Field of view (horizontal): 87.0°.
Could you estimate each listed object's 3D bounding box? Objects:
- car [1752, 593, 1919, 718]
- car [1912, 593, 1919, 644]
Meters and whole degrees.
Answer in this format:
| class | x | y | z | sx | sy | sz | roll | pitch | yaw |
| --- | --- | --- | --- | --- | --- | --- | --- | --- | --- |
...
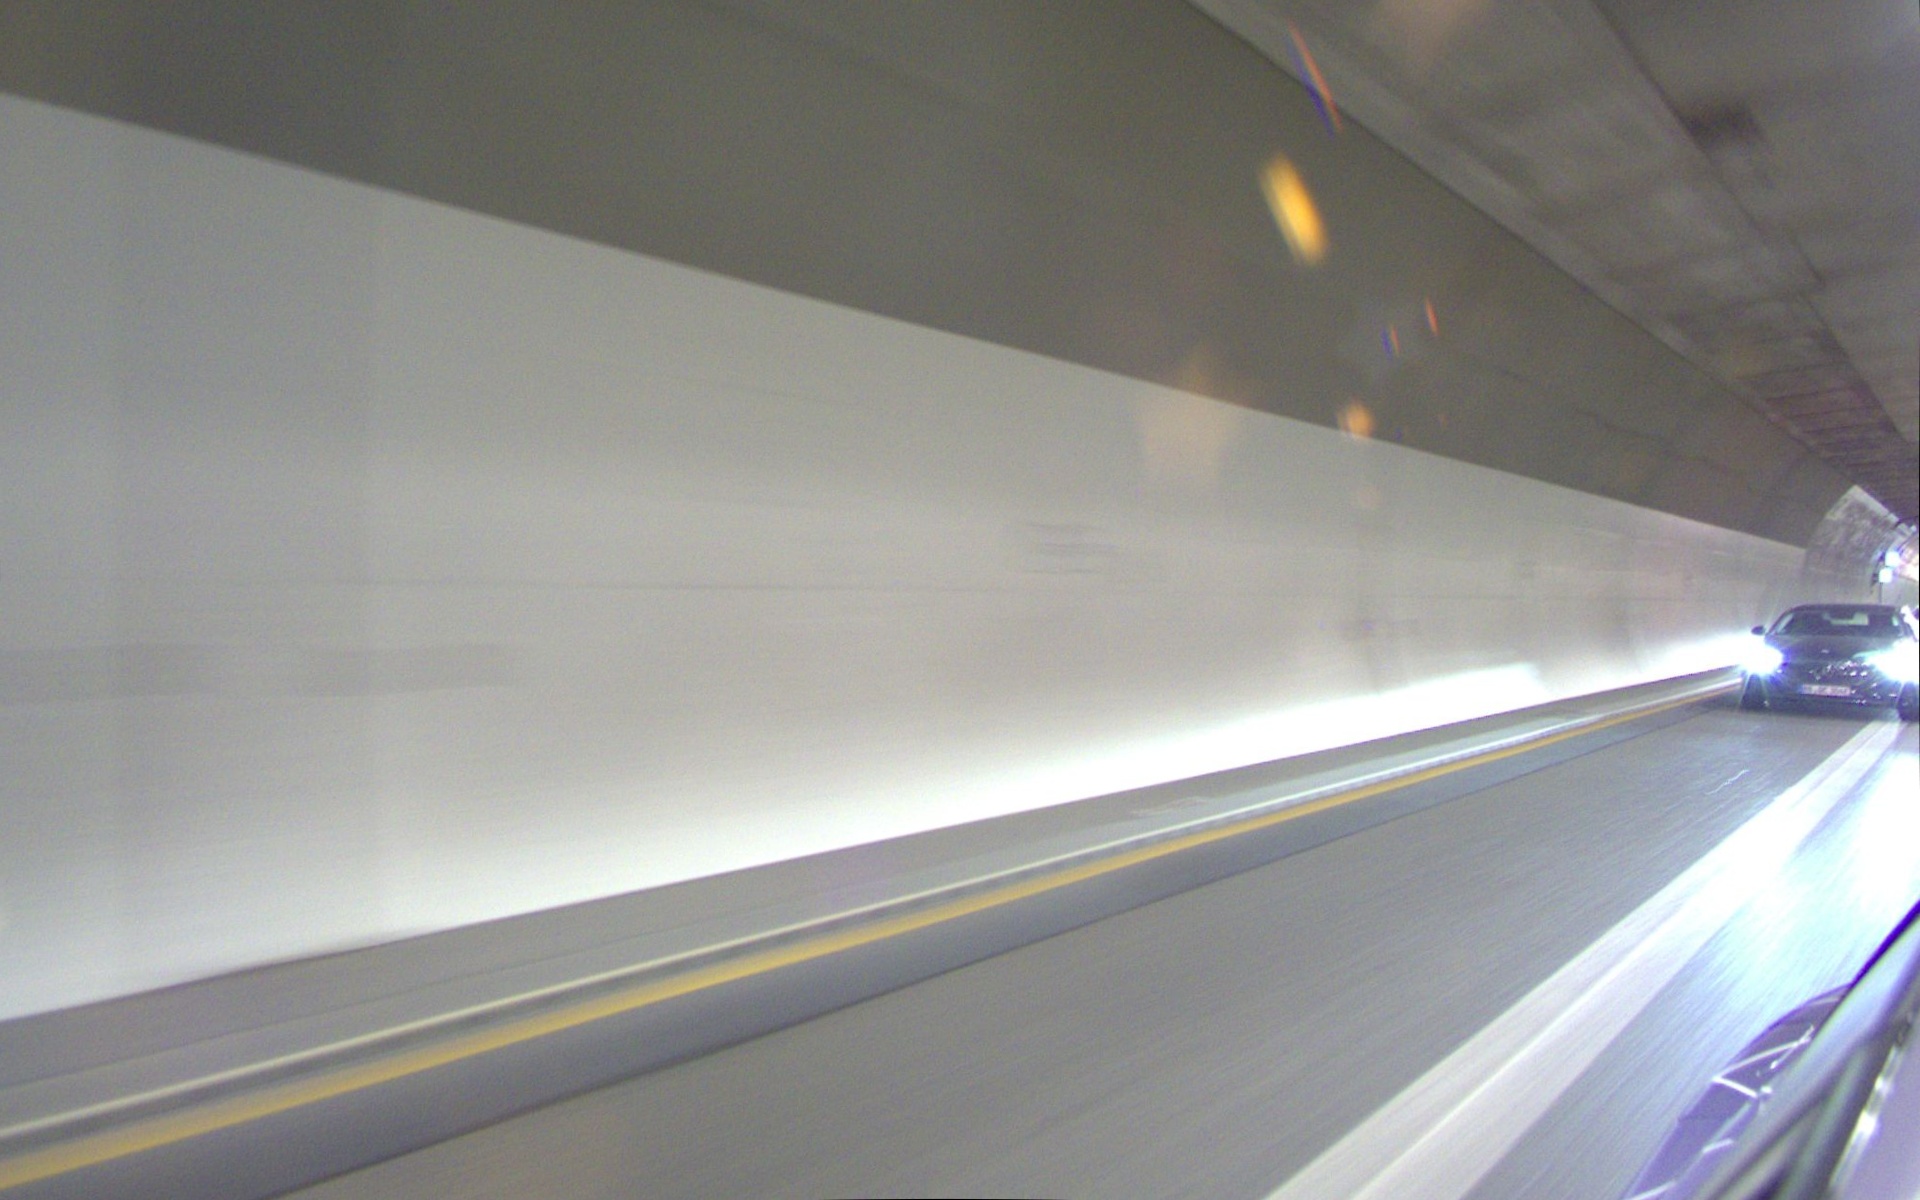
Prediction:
| class | x | y | z | sx | sy | sz | roll | pitch | yaw |
| --- | --- | --- | --- | --- | --- | --- | --- | --- | --- |
| car | 12.704 | 0.667 | 14.291 | 4.447 | 1.496 | 1.822 | 0 | 0 | -44 |
| car | 31.705 | 0.566 | 32.103 | 4.664 | 1.560 | 1.995 | -1 | 1 | -44 |
